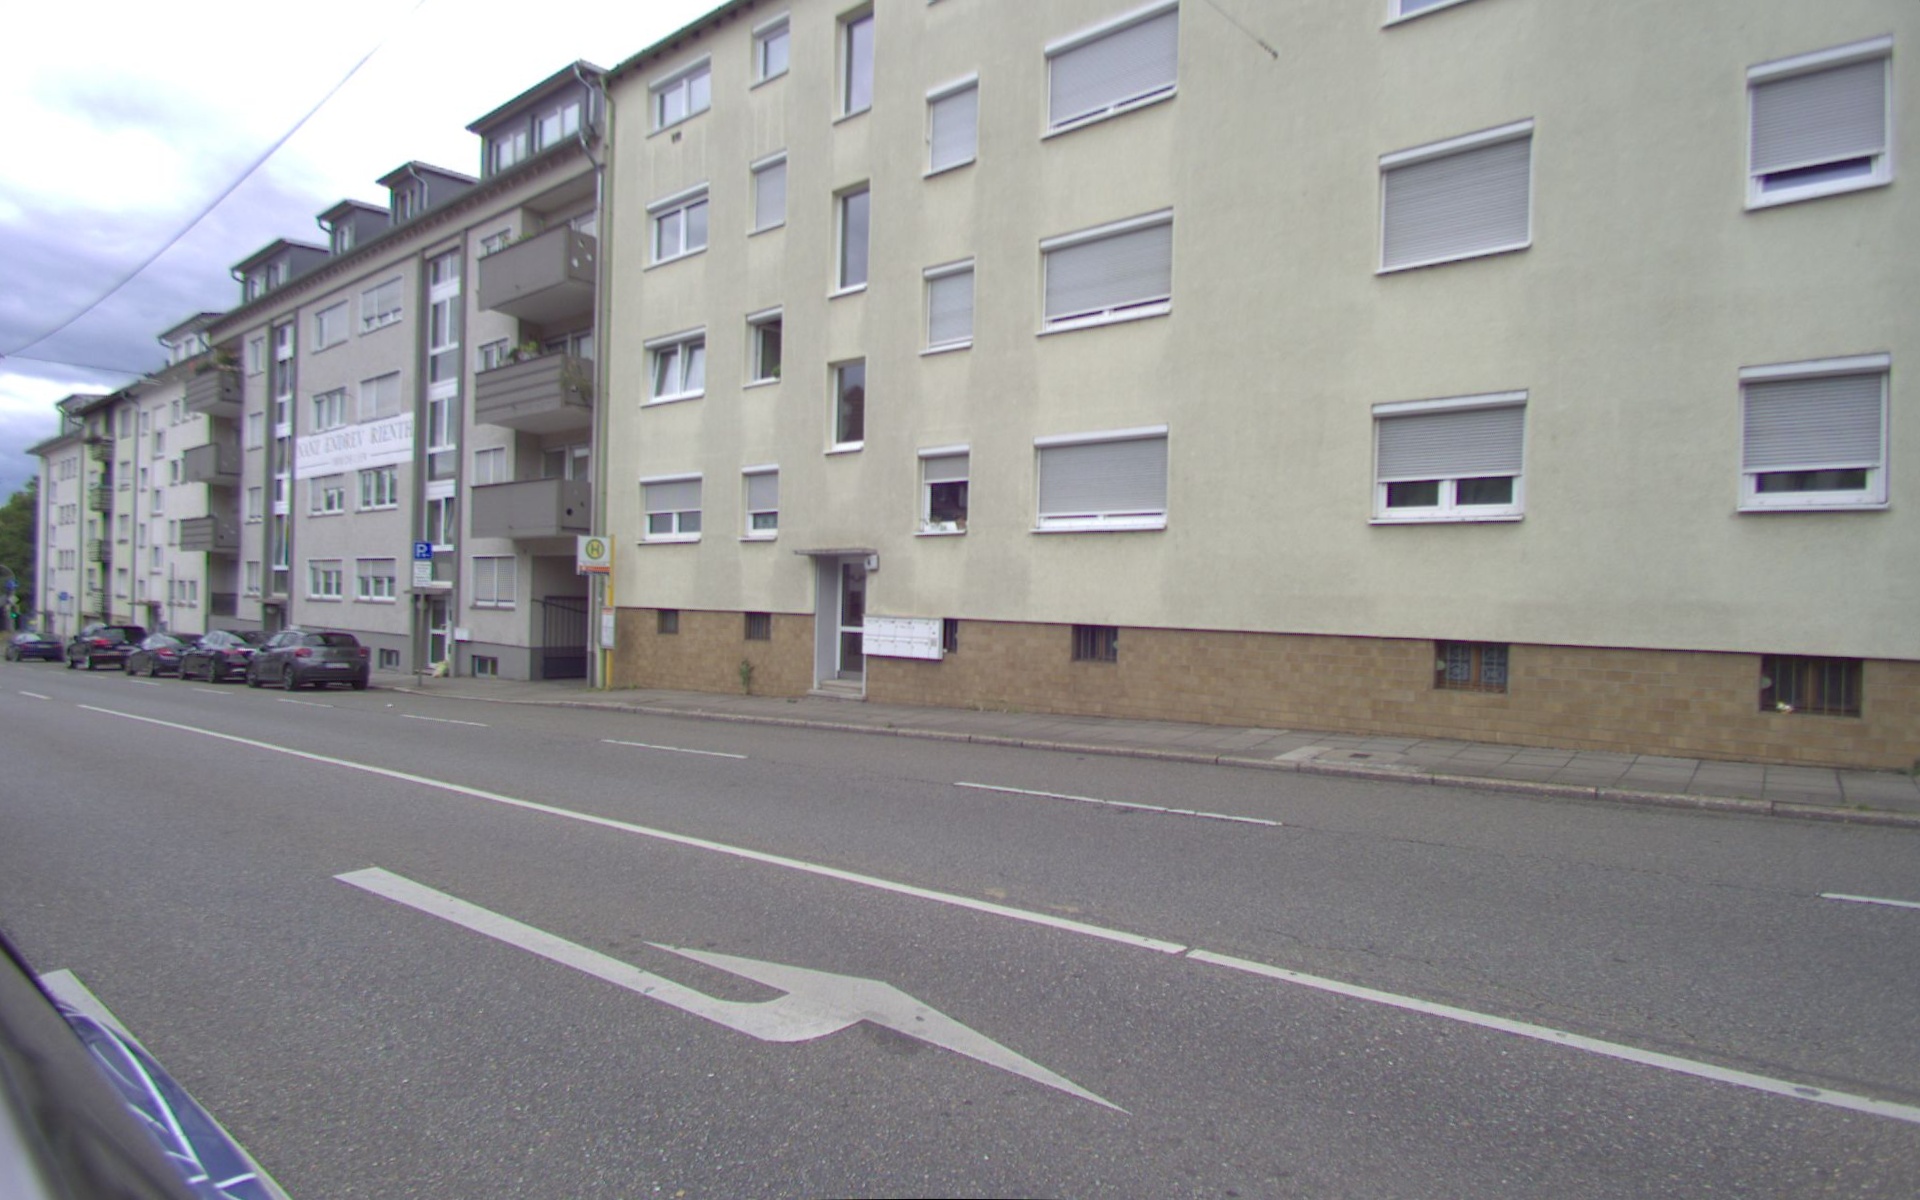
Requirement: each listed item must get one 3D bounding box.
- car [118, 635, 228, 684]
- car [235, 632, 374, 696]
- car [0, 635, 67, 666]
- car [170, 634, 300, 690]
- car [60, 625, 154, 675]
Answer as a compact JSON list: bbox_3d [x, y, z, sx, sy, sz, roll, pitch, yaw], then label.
[{"bbox_3d":[-24.860,1.859,31.906,4.303,1.416,1.750,-1,-4,39],"label":"car"},{"bbox_3d":[-16.230,1.545,25.006,3.797,1.447,1.750,-1,-4,39],"label":"car"},{"bbox_3d":[-44.695,2.436,48.791,4.305,1.391,1.851,-1,-4,41],"label":"car"},{"bbox_3d":[-20.523,1.726,28.573,4.713,1.416,1.750,-1,-4,39],"label":"car"},{"bbox_3d":[-31.985,1.859,37.922,4.303,1.767,1.852,-1,-4,39],"label":"car"}]
